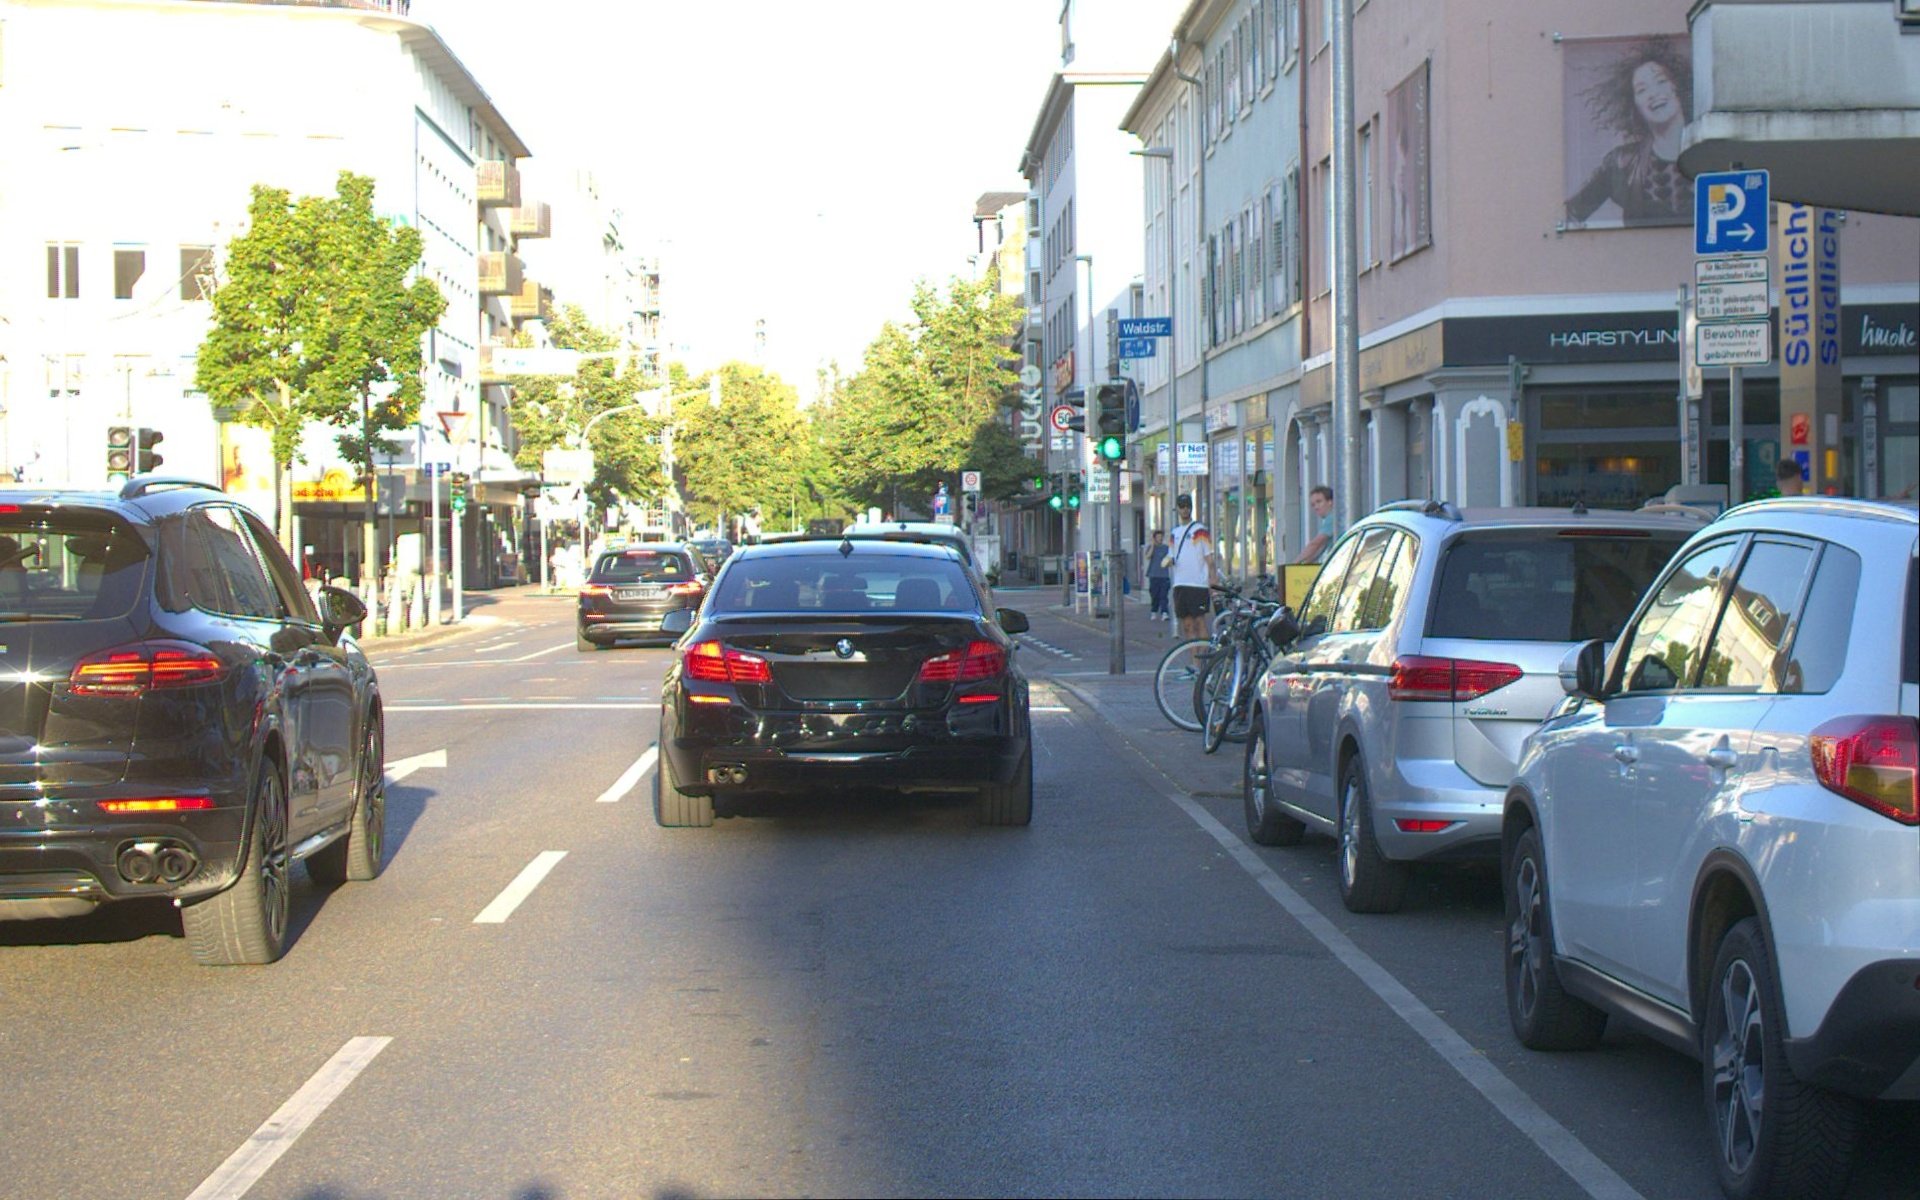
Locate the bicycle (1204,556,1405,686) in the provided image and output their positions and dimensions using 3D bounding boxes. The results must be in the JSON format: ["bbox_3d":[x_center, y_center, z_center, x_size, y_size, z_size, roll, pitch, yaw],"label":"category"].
[{"bbox_3d":[3.216,0.191,32.021,1.820,1.182,0.793,0,1,8],"label":"bicycle"}]

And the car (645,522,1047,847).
[{"bbox_3d":[-0.637,0.351,18.516,1.903,1.535,4.450,0,1,-3],"label":"car"}]

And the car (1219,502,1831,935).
[{"bbox_3d":[2.289,0.391,15.175,1.697,1.611,4.683,0,1,-3],"label":"car"}]

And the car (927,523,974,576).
[{"bbox_3d":[-0.344,-1.803,122.833,1.421,1.848,3.053,1,1,-4],"label":"car"}]

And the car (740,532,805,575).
[{"bbox_3d":[-6.546,-1.623,119.566,1.993,1.437,4.001,0,1,-7],"label":"car"}]

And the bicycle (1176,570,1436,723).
[{"bbox_3d":[2.590,0.340,25.785,1.781,1.060,0.719,-2,1,-12],"label":"bicycle"}]

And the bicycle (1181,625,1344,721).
[{"bbox_3d":[2.311,0.553,26.406,1.004,0.679,1.051,-1,1,-10],"label":"bicycle"}]

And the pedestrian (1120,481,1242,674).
[{"bbox_3d":[2.208,-0.231,34.351,0.937,1.891,0.826,-1,1,-22],"label":"pedestrian"}]

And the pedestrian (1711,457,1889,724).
[{"bbox_3d":[5.826,-0.076,23.856,0.823,1.810,0.871,-1,1,-38],"label":"pedestrian"}]

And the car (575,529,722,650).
[{"bbox_3d":[-4.250,-0.188,47.510,1.872,1.590,4.450,0,1,-3],"label":"car"}]

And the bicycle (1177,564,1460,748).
[{"bbox_3d":[2.442,0.368,23.466,1.781,1.169,0.622,-2,1,-12],"label":"bicycle"}]

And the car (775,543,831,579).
[{"bbox_3d":[-5.783,-1.455,126.358,1.733,1.288,4.001,0,1,-7],"label":"car"}]

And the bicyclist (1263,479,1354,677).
[{"bbox_3d":[3.251,-0.209,32.011,0.833,1.820,0.831,0,1,7],"label":"bicyclist"}]

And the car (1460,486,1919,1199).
[{"bbox_3d":[2.514,0.542,8.753,1.817,1.615,4.203,0,1,-1],"label":"car"}]

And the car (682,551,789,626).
[{"bbox_3d":[-4.595,-0.264,70.969,1.993,1.481,4.000,0,1,-1],"label":"car"}]

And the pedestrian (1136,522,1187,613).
[{"bbox_3d":[3.679,-0.600,62.789,0.823,1.636,0.871,0,1,-3],"label":"pedestrian"}]

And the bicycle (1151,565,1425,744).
[{"bbox_3d":[2.295,0.370,24.096,1.781,1.169,0.622,-2,1,-12],"label":"bicycle"}]

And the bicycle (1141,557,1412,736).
[{"bbox_3d":[2.279,0.326,24.842,1.843,1.235,0.639,-1,1,-6],"label":"bicycle"}]

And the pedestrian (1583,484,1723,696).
[{"bbox_3d":[5.489,-0.085,27.223,0.791,1.647,0.778,0,1,42],"label":"pedestrian"}]

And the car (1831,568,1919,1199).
[{"bbox_3d":[2.288,0.726,3.218,1.733,1.452,4.611,0,1,-1],"label":"car"}]

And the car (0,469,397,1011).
[{"bbox_3d":[-3.403,0.401,13.145,1.948,1.708,4.562,-1,1,-3],"label":"car"}]

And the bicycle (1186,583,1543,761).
[{"bbox_3d":[2.639,0.457,22.518,2.169,1.071,0.806,-1,1,-8],"label":"bicycle"}]

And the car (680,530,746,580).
[{"bbox_3d":[-8.201,-1.513,113.921,1.993,1.612,4.001,0,1,-7],"label":"car"}]

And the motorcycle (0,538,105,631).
[{"bbox_3d":[-14.677,-0.238,53.337,2.581,1.425,0.868,0,1,0],"label":"motorcycle"}]

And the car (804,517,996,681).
[{"bbox_3d":[-0.577,-0.055,34.824,1.832,1.570,4.100,0,1,0],"label":"car"}]

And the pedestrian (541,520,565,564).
[{"bbox_3d":[-15.611,-2.239,131.870,0.823,1.670,0.871,0,1,-2],"label":"pedestrian"}]
